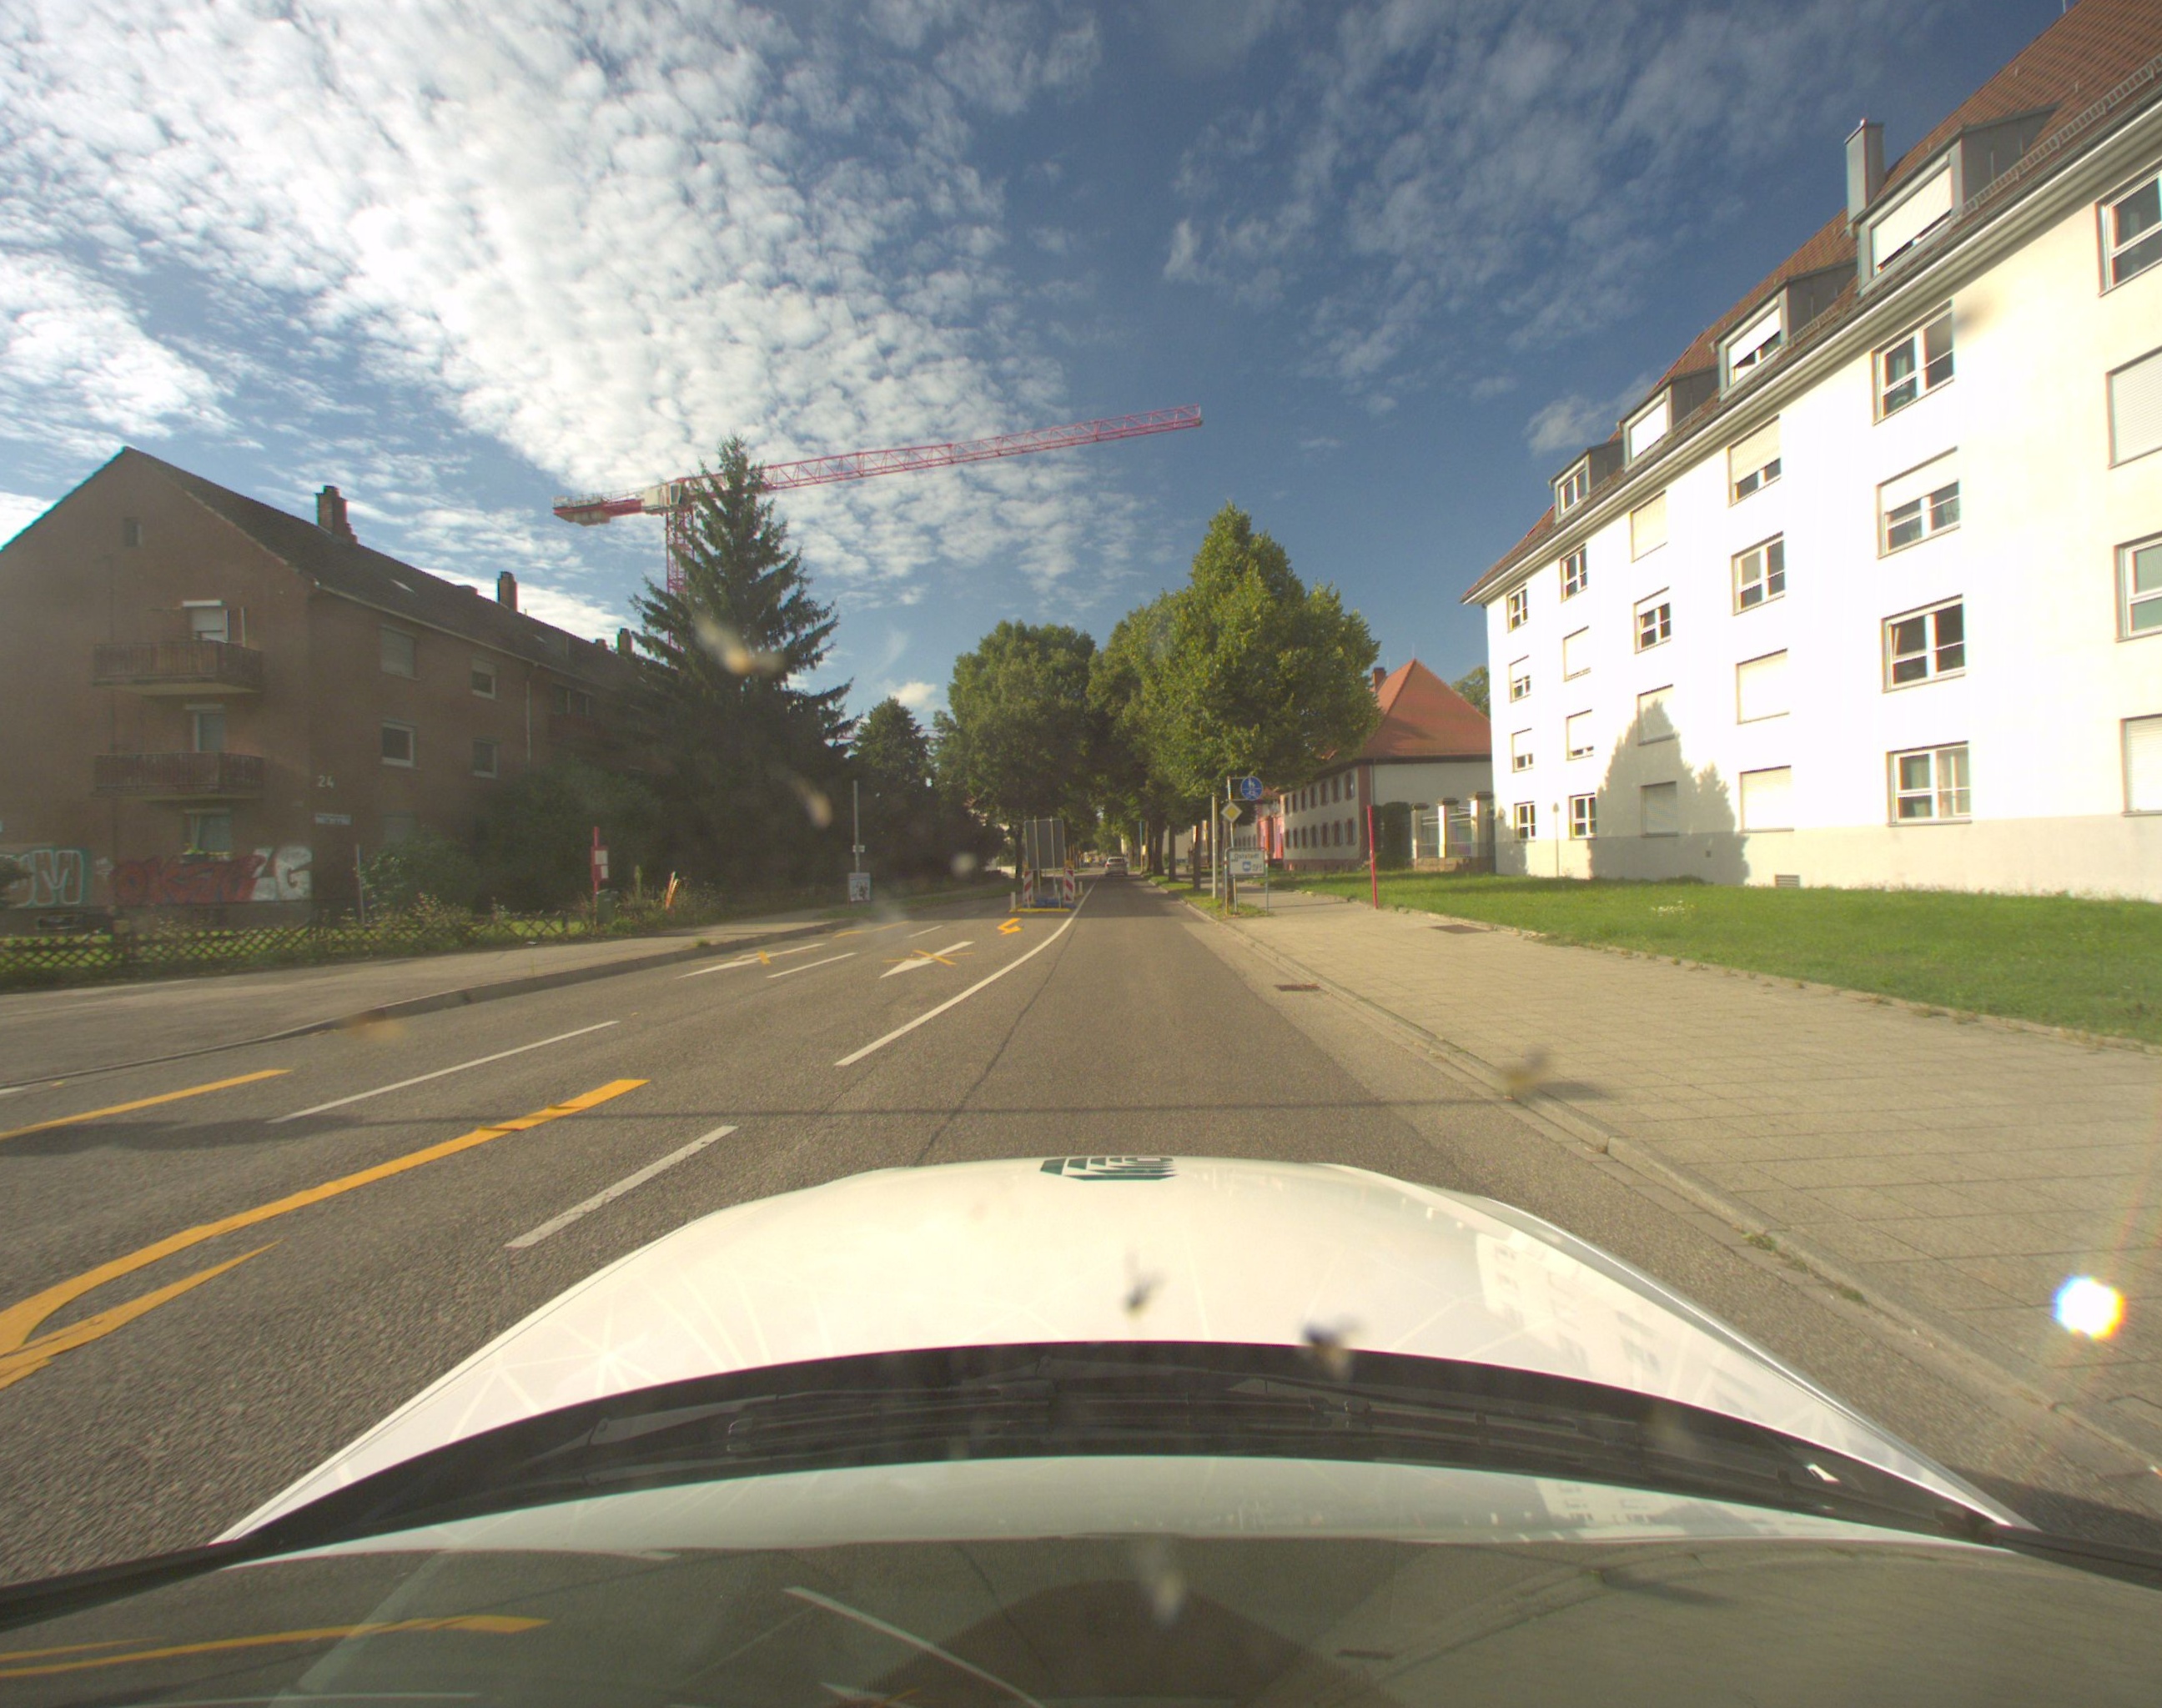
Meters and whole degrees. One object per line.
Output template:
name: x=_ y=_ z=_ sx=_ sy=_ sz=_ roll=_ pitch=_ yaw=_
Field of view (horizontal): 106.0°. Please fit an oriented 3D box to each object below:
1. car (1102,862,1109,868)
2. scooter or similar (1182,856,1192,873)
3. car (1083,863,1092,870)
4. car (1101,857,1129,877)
car: x=7.323 y=3.135 z=238.895 sx=1.986 sy=1.755 sz=4.002 roll=-1 pitch=-1 yaw=2
scooter or similar: x=8.731 y=0.864 z=67.150 sx=0.577 sy=1.291 sz=1.382 roll=-4 pitch=-1 yaw=3
car: x=1.709 y=3.384 z=217.539 sx=1.990 sy=1.640 sz=3.993 roll=-2 pitch=-1 yaw=-5
car: x=2.776 y=1.065 z=66.579 sx=1.988 sy=1.555 sz=4.271 roll=-1 pitch=-1 yaw=-1
